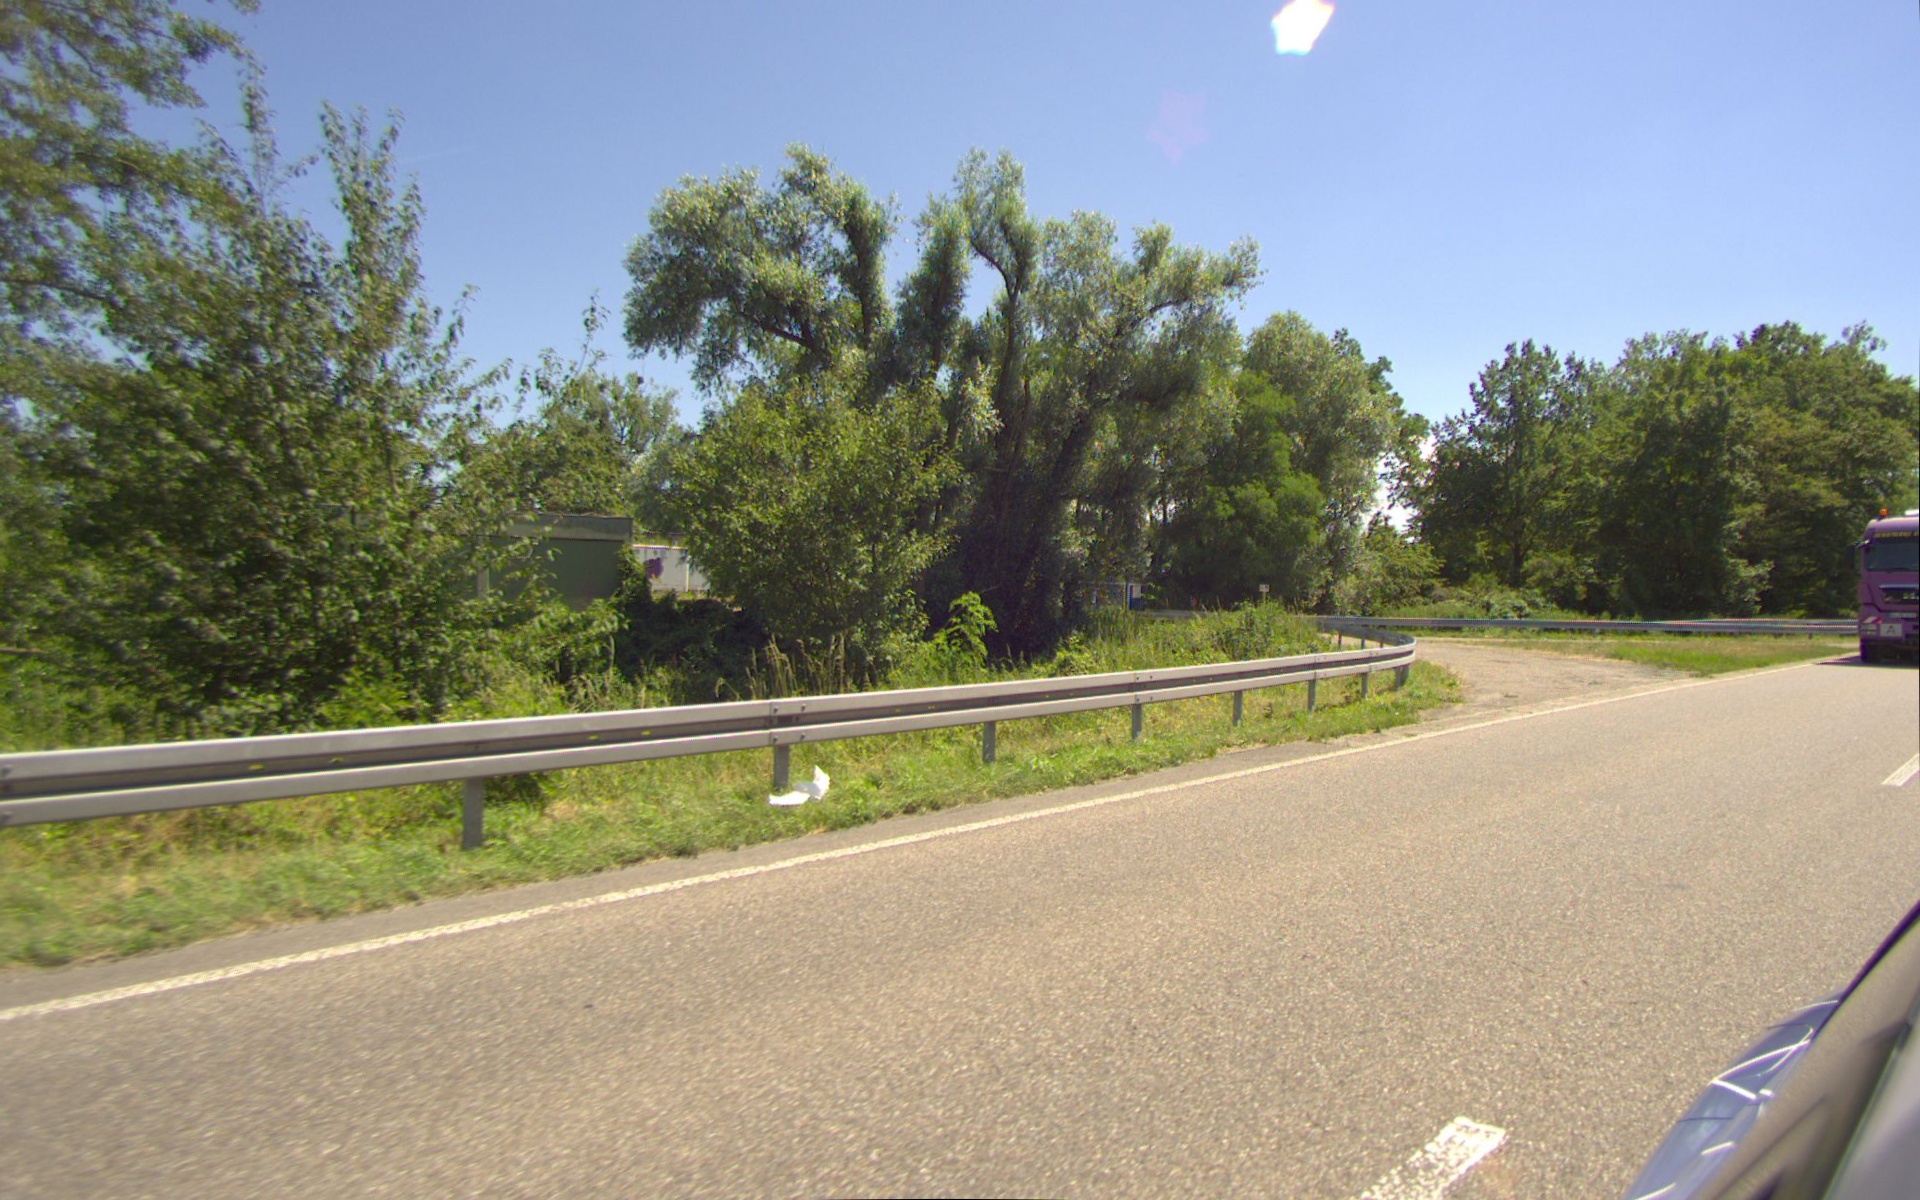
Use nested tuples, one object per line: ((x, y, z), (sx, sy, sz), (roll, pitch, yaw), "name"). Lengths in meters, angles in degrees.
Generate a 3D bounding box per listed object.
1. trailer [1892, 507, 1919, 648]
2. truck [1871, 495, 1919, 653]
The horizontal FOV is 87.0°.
((28.738, -0.524, 28.660), (8.463, 3.675, 2.602), (1, 0, -42), "trailer")
((25.167, -0.572, 25.546), (5.835, 3.739, 2.602), (1, -1, -41), "truck")
